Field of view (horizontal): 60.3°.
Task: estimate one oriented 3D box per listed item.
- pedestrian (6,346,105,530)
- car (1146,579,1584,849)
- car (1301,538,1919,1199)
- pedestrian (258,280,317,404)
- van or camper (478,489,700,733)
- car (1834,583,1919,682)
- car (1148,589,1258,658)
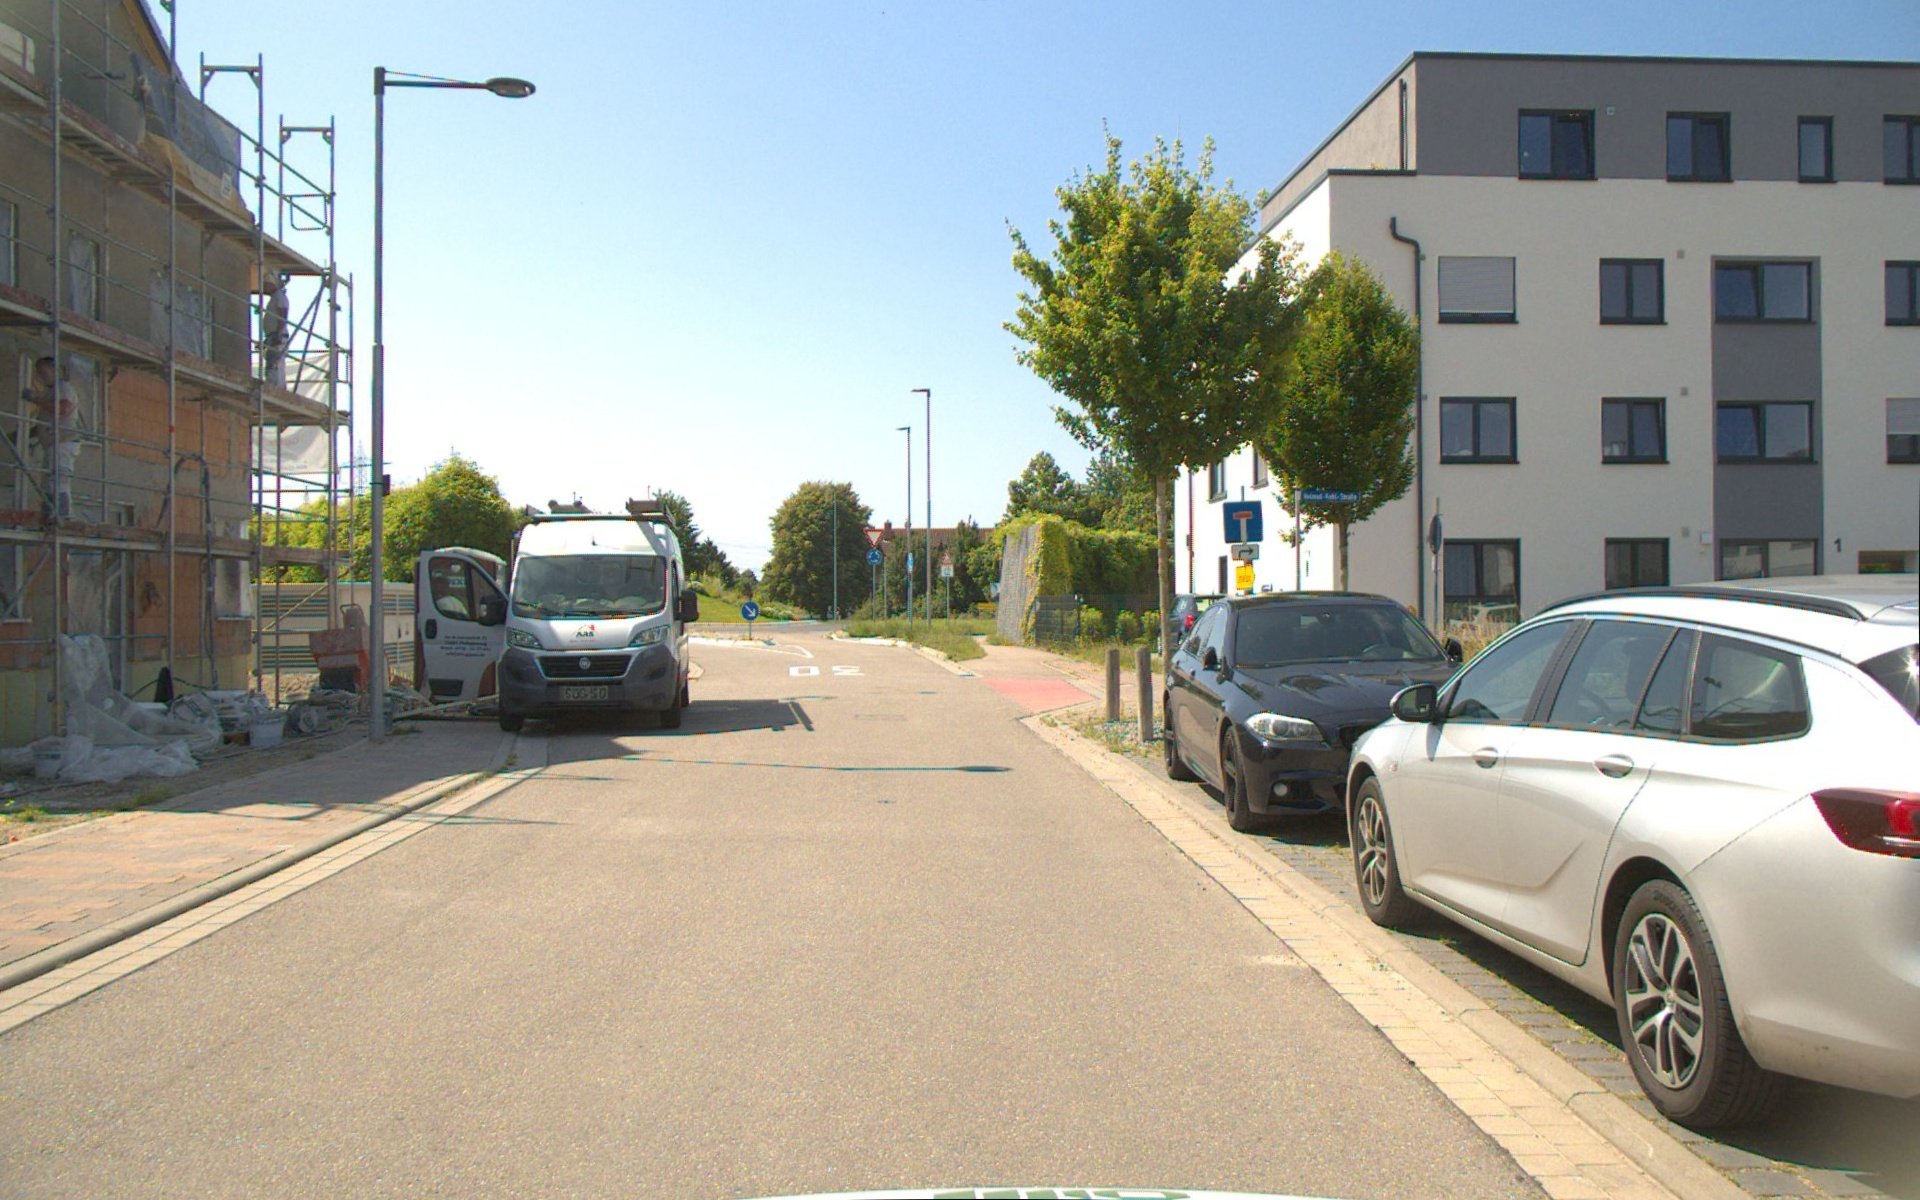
[{"bbox_3d":[-8.919,-1.575,16.314,0.743,1.709,0.569,1,-3,-45],"label":"pedestrian"},{"bbox_3d":[2.637,0.627,12.147,1.879,1.495,5.139,-2,1,-1],"label":"car"},{"bbox_3d":[2.850,0.578,6.083,1.880,1.537,5.293,-2,1,-2],"label":"car"},{"bbox_3d":[-9.126,-3.486,22.450,0.558,1.526,0.738,1,-3,-39],"label":"pedestrian"},{"bbox_3d":[-4.485,0.144,20.986,2.230,2.598,6.355,-1,-1,-8],"label":"van or camper"},{"bbox_3d":[16.079,0.469,25.645,4.076,1.461,1.881,-1,-1,-4],"label":"car"},{"bbox_3d":[5.623,0.514,38.671,1.645,1.495,4.112,0,0,-5],"label":"car"}]
